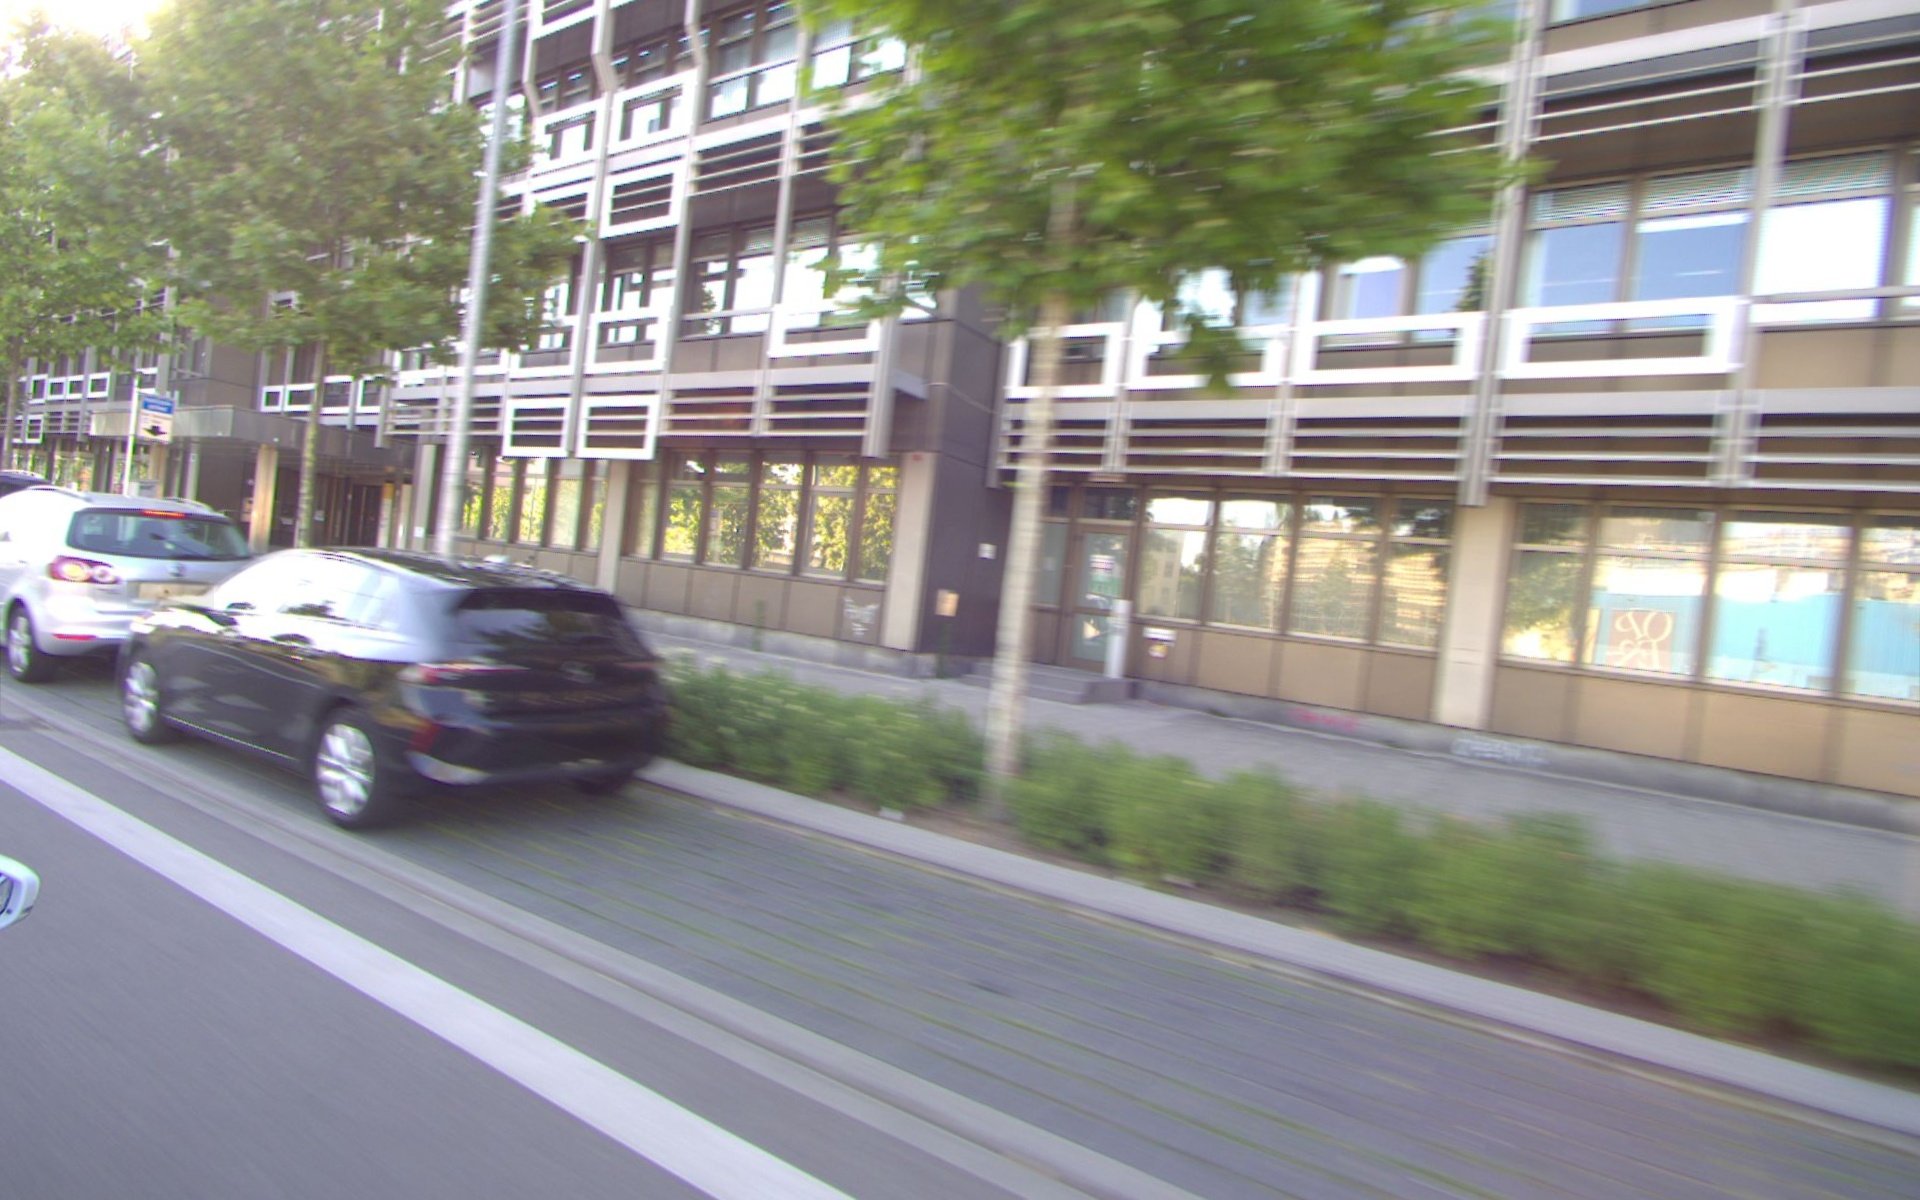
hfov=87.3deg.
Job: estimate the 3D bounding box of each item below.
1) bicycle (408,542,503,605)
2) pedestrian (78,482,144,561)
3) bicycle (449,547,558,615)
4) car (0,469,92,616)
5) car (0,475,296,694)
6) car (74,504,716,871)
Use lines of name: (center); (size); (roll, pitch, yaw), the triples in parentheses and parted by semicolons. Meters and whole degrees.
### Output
bicycle: (-10.052, -0.519, 20.101); (0.386, 1.096, 1.627); (7, 1, 35)
pedestrian: (-19.609, -1.809, 23.223); (1.118, 1.669, 0.789); (7, 2, 33)
bicycle: (-8.353, -0.324, 18.497); (0.385, 1.107, 1.902); (7, 1, 27)
car: (-13.162, -0.917, 12.947); (4.439, 1.711, 1.728); (7, 2, 32)
car: (-8.377, -0.268, 9.652); (4.146, 1.643, 1.728); (7, 2, 32)
car: (-3.824, 0.332, 6.549); (4.305, 1.468, 1.794); (7, 2, 33)
